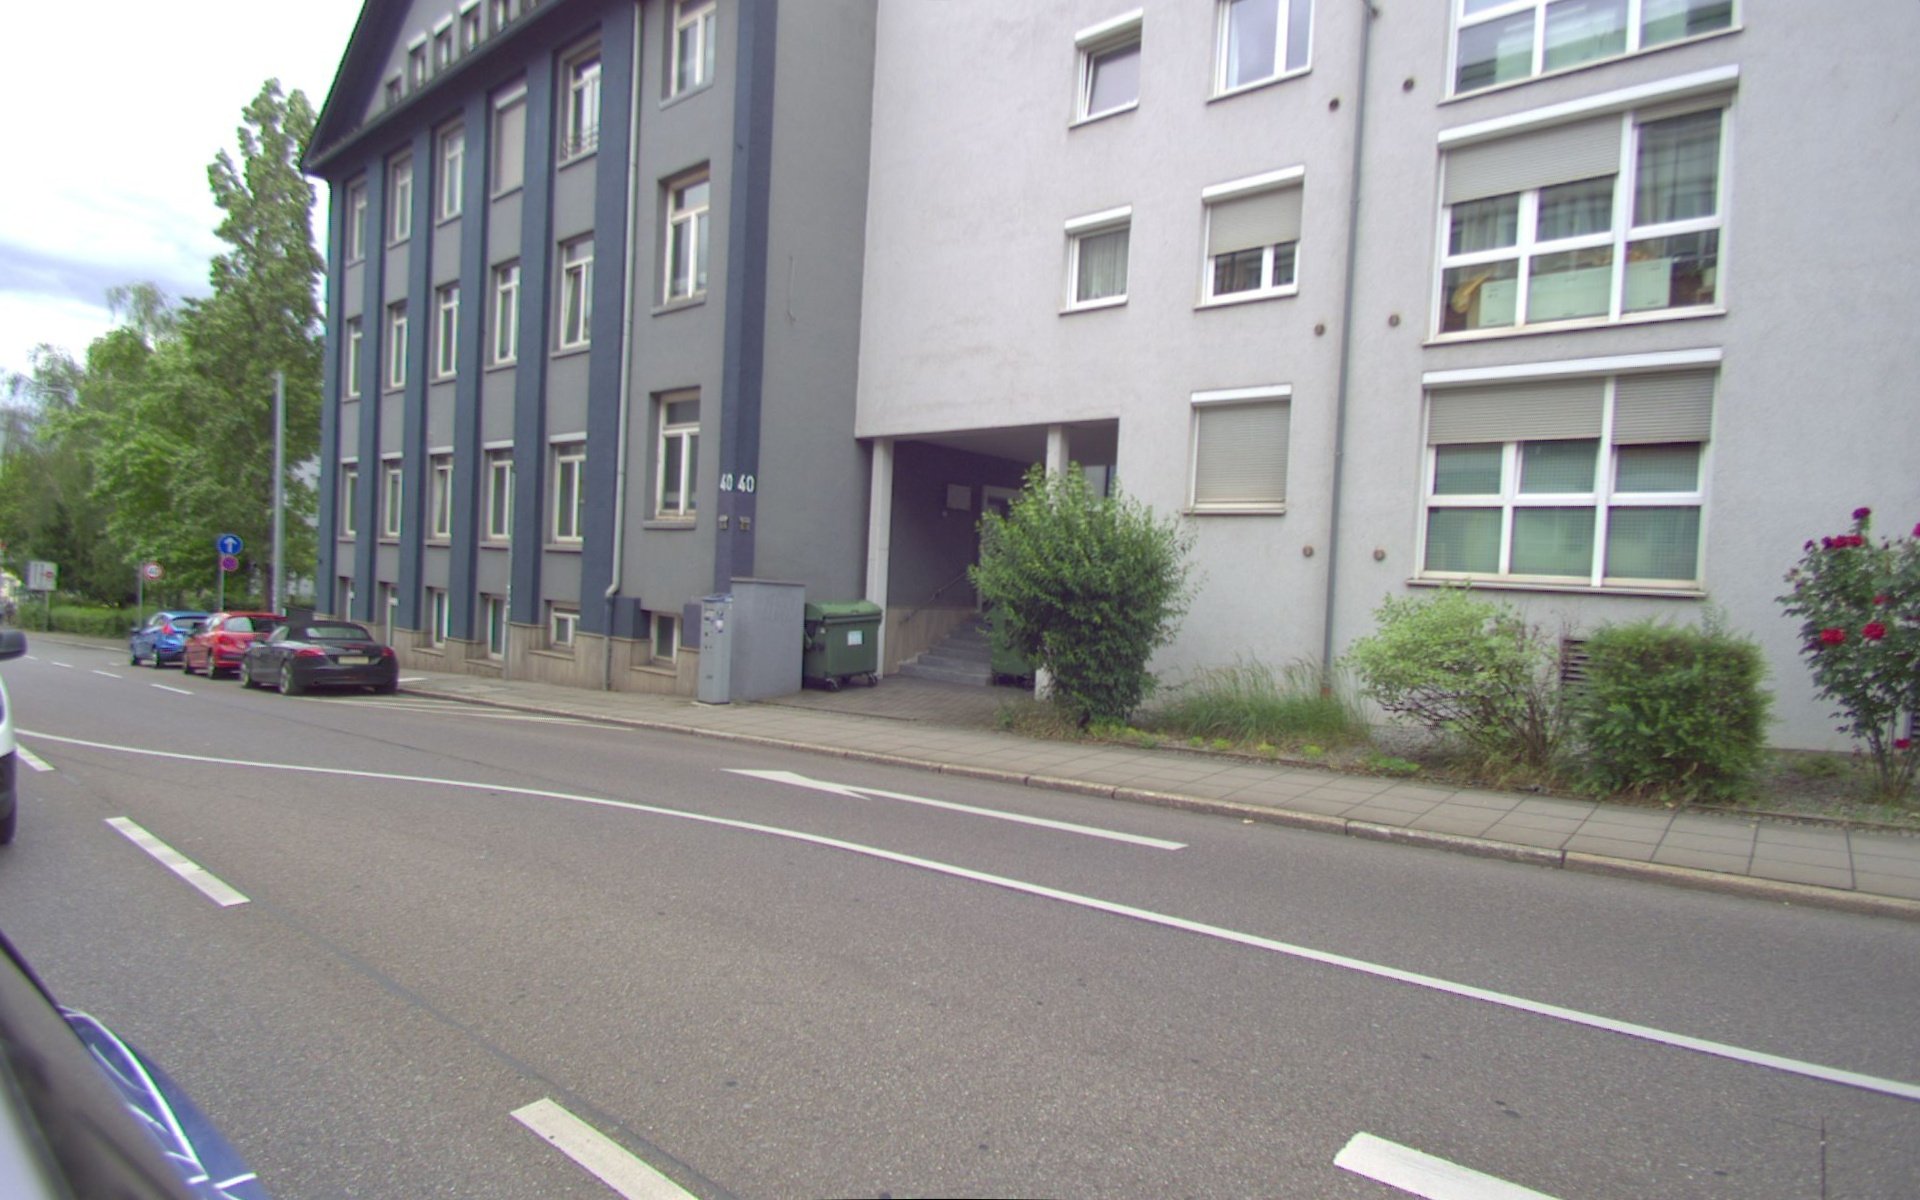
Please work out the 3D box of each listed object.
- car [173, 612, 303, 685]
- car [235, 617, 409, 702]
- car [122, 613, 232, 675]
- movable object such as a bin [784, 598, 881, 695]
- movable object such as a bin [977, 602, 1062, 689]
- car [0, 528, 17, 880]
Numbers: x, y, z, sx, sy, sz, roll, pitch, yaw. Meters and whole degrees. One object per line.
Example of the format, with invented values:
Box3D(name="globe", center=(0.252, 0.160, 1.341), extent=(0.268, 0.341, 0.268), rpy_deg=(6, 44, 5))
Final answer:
Box3D(name="car", center=(-16.503, 1.042, 23.077), extent=(3.727, 1.460, 1.623), rpy_deg=(0, 1, 41))
Box3D(name="car", center=(-12.120, 1.053, 19.146), extent=(3.727, 1.403, 1.778), rpy_deg=(0, -1, 41))
Box3D(name="car", center=(-20.701, 1.111, 26.723), extent=(3.727, 1.460, 1.623), rpy_deg=(0, 1, 41))
Box3D(name="movable object such as a bin", center=(-2.106, 0.731, 16.753), extent=(1.039, 1.518, 1.213), rpy_deg=(0, 1, 41))
Box3D(name="movable object such as a bin", center=(1.036, 0.766, 17.655), extent=(1.078, 1.427, 1.026), rpy_deg=(0, 1, 41))
Box3D(name="car", center=(-7.208, 0.565, 6.190), extent=(3.998, 1.900, 1.716), rpy_deg=(0, 1, 41))
